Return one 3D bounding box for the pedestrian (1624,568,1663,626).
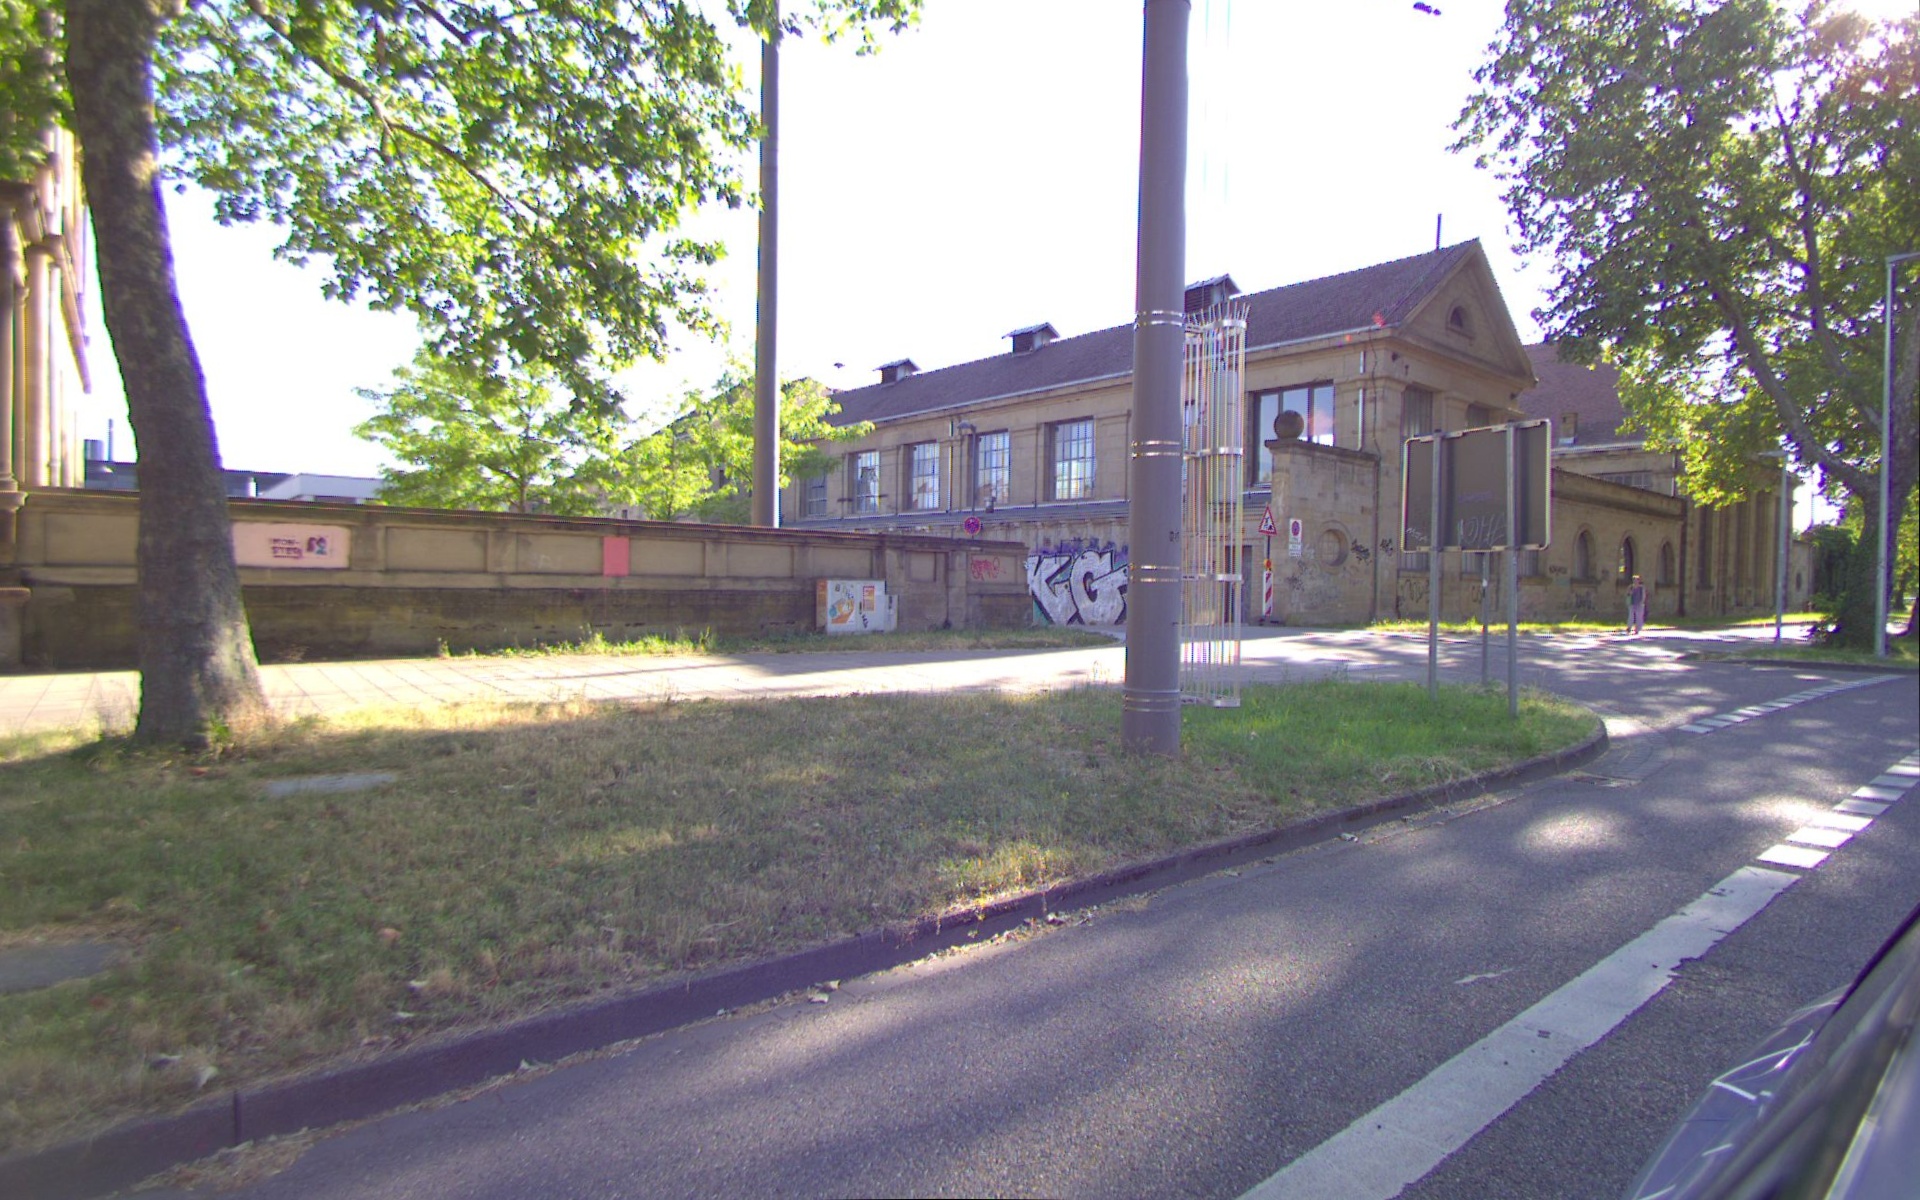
[{"bbox_3d":[20.414,-0.094,30.222,0.858,1.682,0.672,0,2,-37],"label":"pedestrian"}]
